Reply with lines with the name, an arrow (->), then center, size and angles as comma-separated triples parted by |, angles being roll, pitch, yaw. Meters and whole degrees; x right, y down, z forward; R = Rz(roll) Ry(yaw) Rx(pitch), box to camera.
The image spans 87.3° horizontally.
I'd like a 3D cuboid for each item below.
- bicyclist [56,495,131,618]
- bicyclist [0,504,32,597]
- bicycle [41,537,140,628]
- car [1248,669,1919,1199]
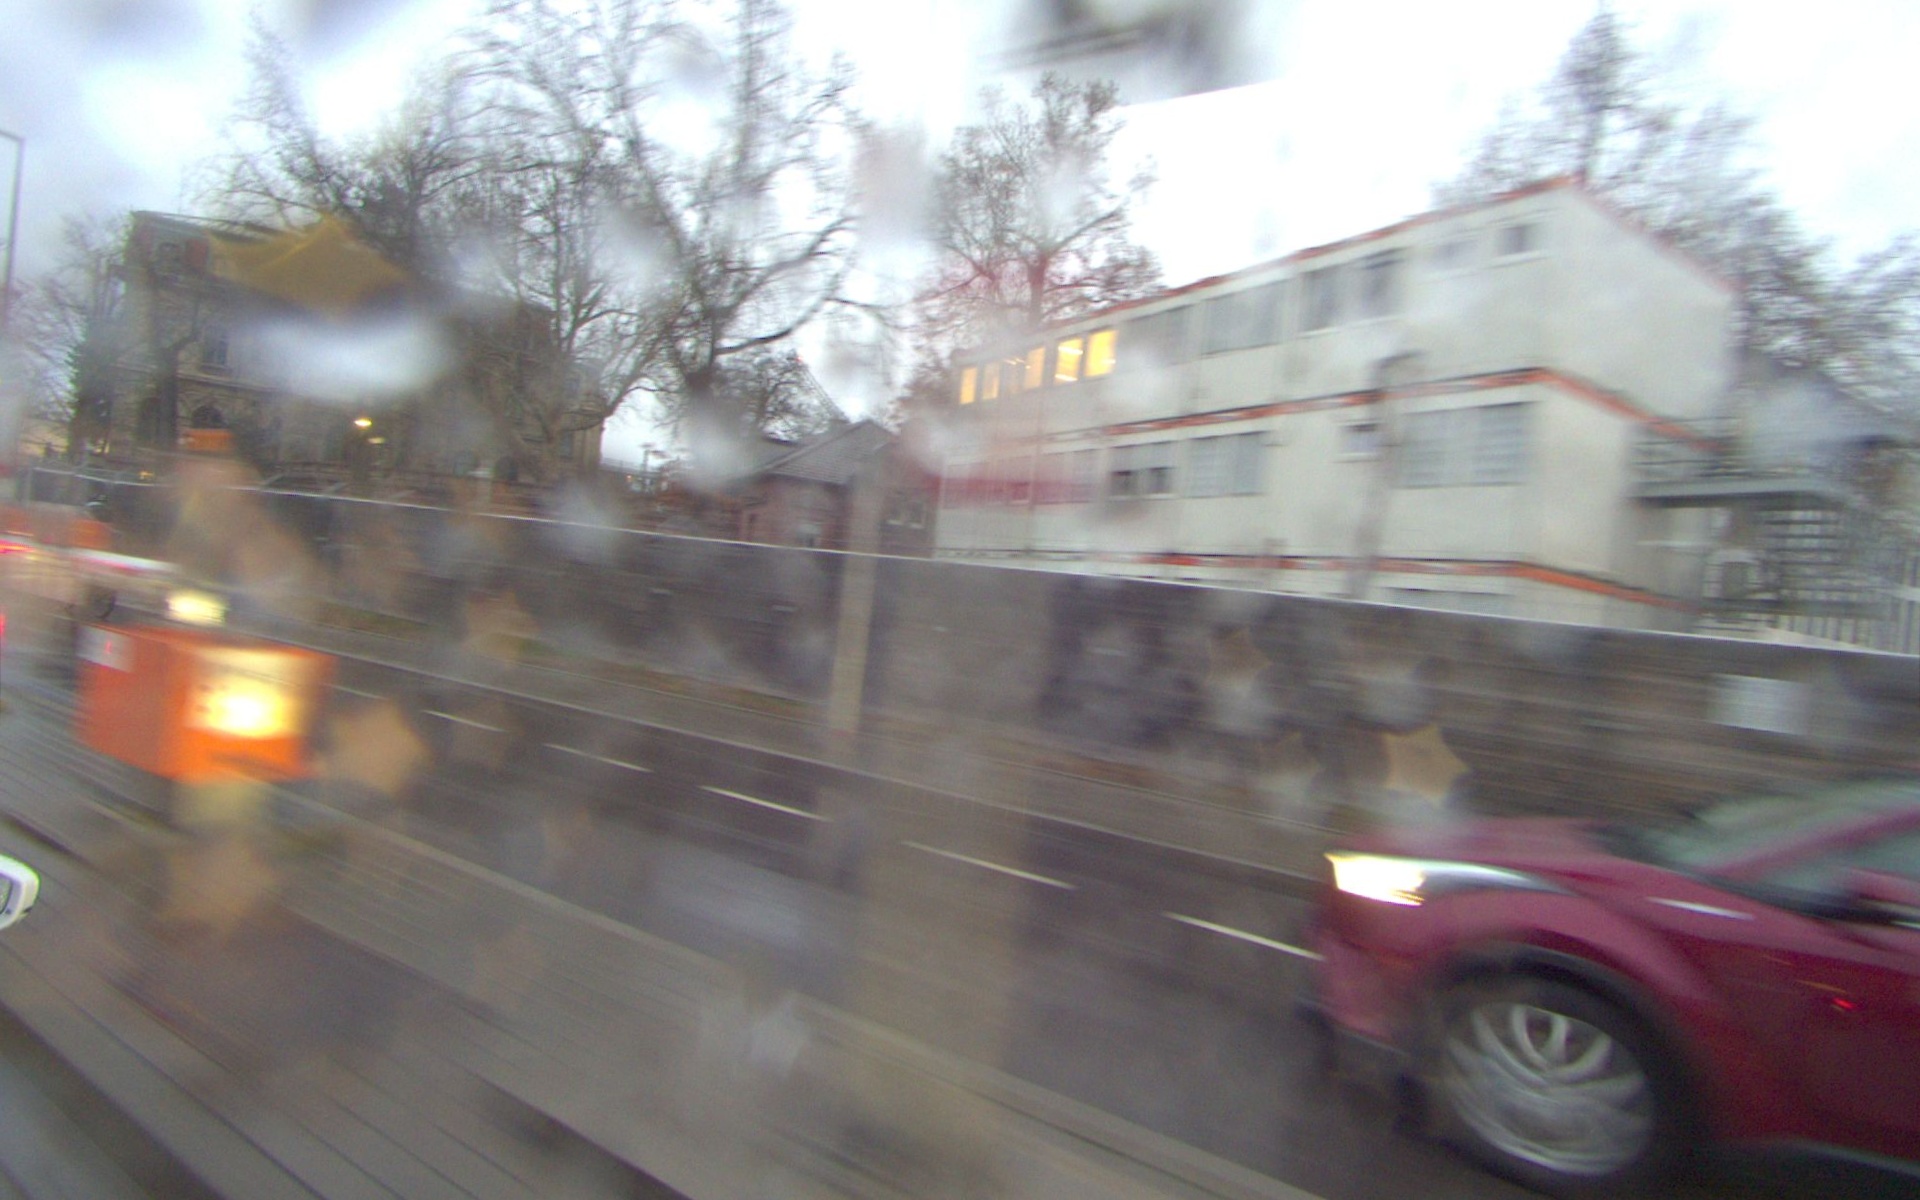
bicyclist -> -13.419, -0.671, 15.578 | 0.823, 1.789, 0.501 | 7, 1, 29
bicyclist -> -17.118, -0.903, 17.930 | 0.823, 1.611, 0.501 | 7, 1, 29
bicycle -> -13.366, -0.283, 15.454 | 1.994, 1.200, 0.412 | 7, 1, 29
car -> 3.208, 1.239, 3.277 | 3.934, 1.496, 1.726 | 5, -3, 32
